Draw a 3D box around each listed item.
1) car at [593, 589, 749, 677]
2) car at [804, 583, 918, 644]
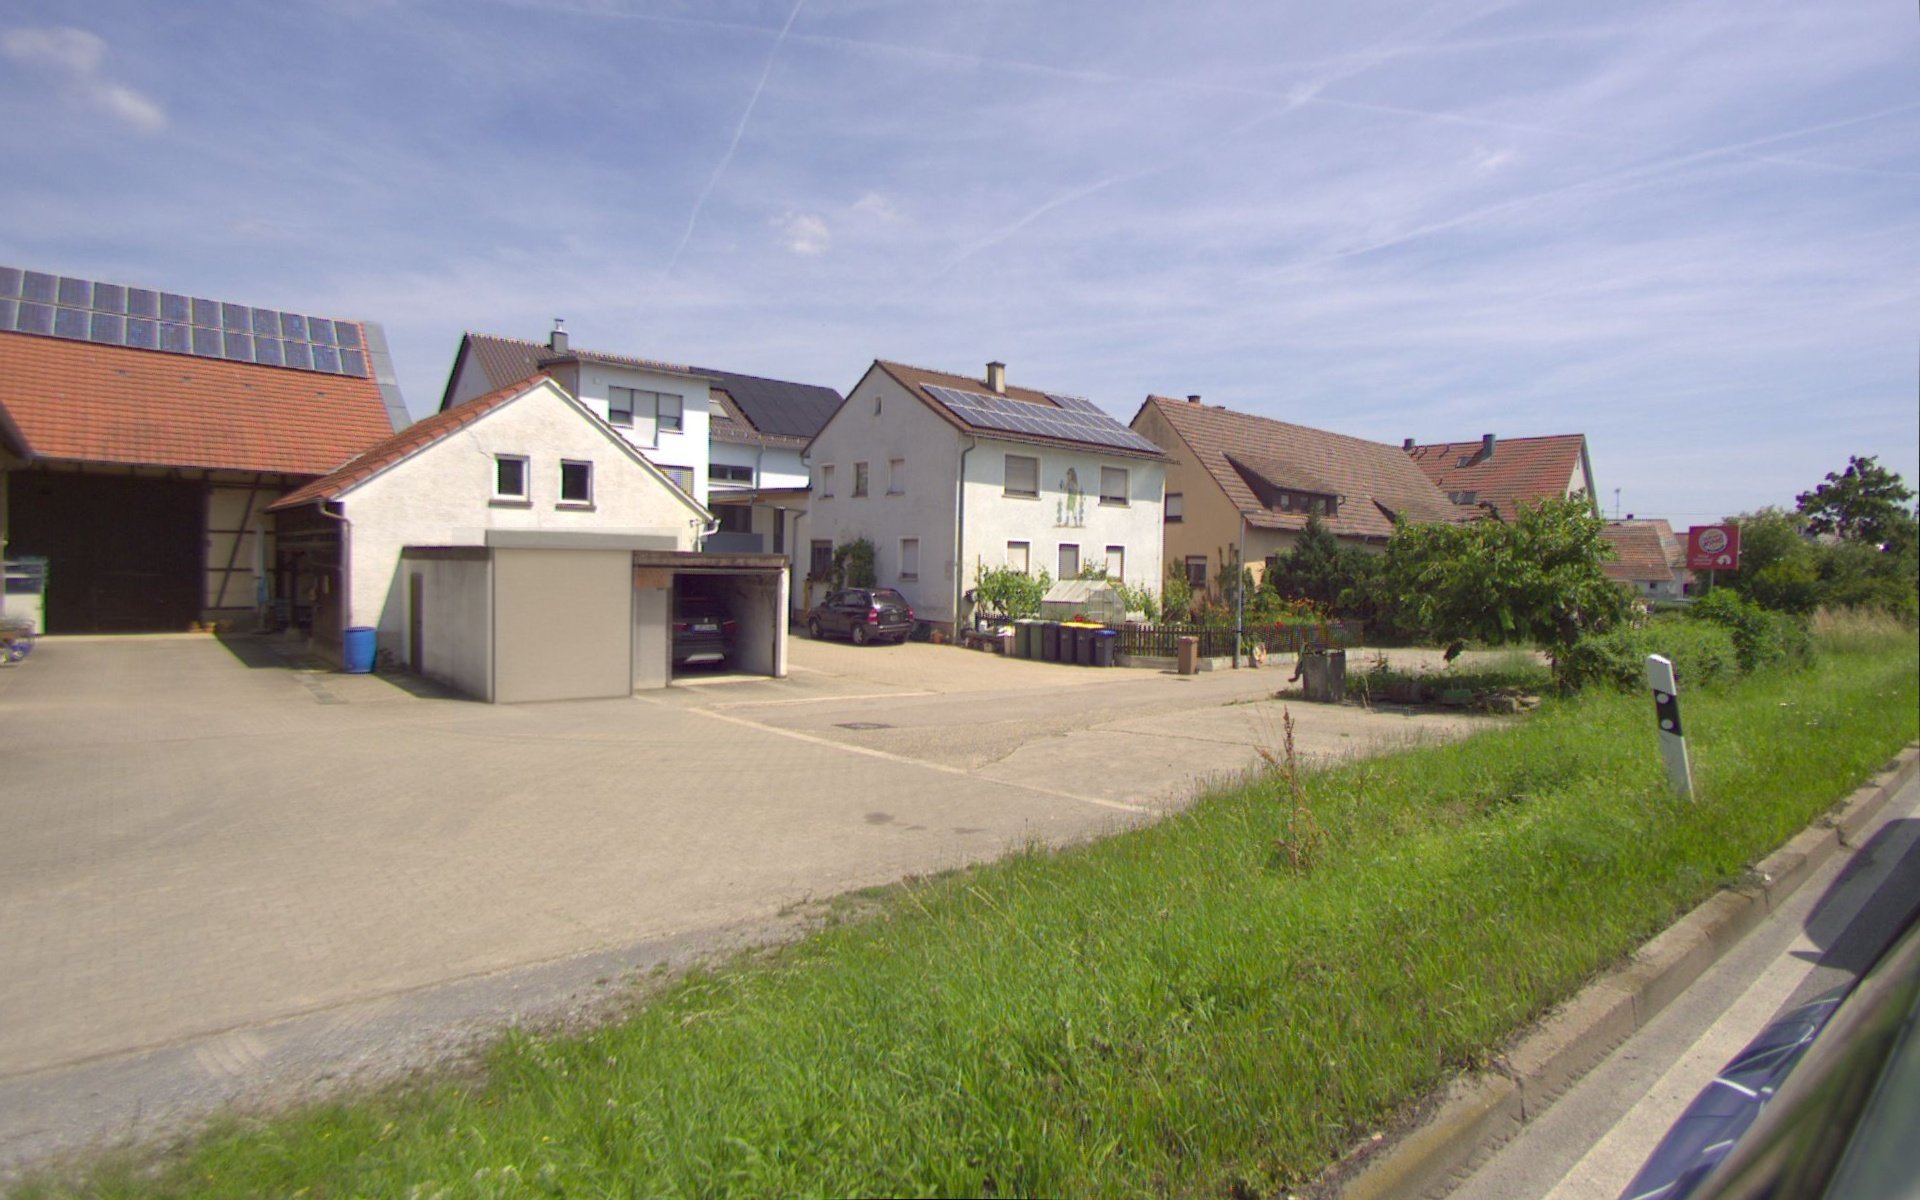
[{"bbox_3d":[-6.306,0.625,21.837,1.802,1.597,3.996,-1,2,-40],"label":"car"},{"bbox_3d":[-3.227,0.371,32.299,1.810,1.714,3.959,-1,3,-38],"label":"car"}]
